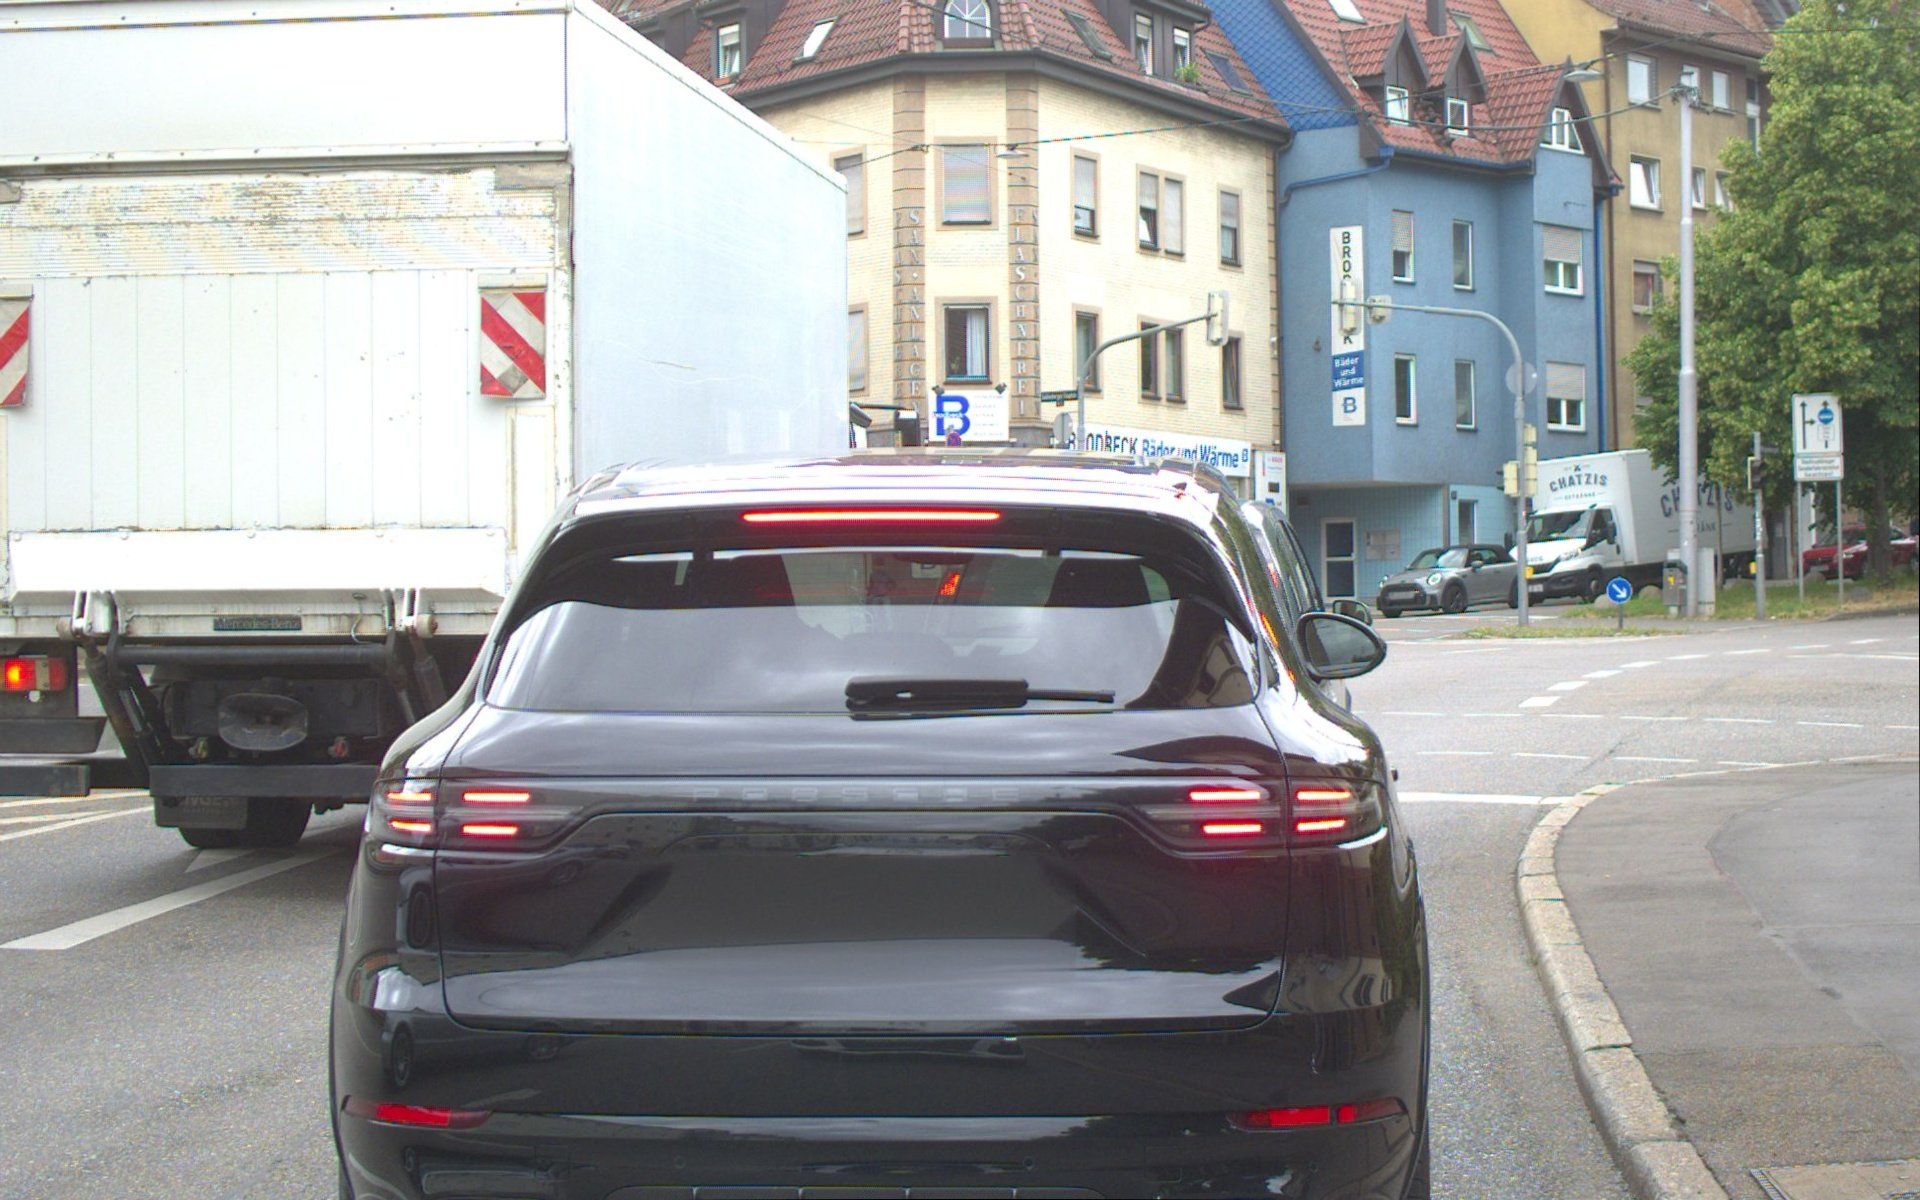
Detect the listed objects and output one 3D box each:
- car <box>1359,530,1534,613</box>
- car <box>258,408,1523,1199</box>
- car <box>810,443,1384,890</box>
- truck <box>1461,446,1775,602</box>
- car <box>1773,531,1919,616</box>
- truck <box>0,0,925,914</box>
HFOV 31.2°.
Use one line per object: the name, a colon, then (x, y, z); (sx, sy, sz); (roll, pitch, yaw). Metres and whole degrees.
car: (10.195, -0.603, 71.884); (1.998, 1.678, 3.992); (0, 1, 36)
car: (-0.216, 0.485, 7.389); (1.978, 1.678, 4.001); (0, 2, -3)
car: (0.752, 0.224, 15.068); (1.994, 1.678, 3.998); (0, 1, 10)
truck: (15.115, -1.673, 78.446); (2.880, 3.328, 8.772); (2, 1, 41)
car: (22.301, -0.654, 86.145); (1.999, 2.007, 3.990); (2, 1, 43)
truck: (-2.218, -0.710, 17.095); (2.770, 3.562, 8.062); (1, 1, 9)
